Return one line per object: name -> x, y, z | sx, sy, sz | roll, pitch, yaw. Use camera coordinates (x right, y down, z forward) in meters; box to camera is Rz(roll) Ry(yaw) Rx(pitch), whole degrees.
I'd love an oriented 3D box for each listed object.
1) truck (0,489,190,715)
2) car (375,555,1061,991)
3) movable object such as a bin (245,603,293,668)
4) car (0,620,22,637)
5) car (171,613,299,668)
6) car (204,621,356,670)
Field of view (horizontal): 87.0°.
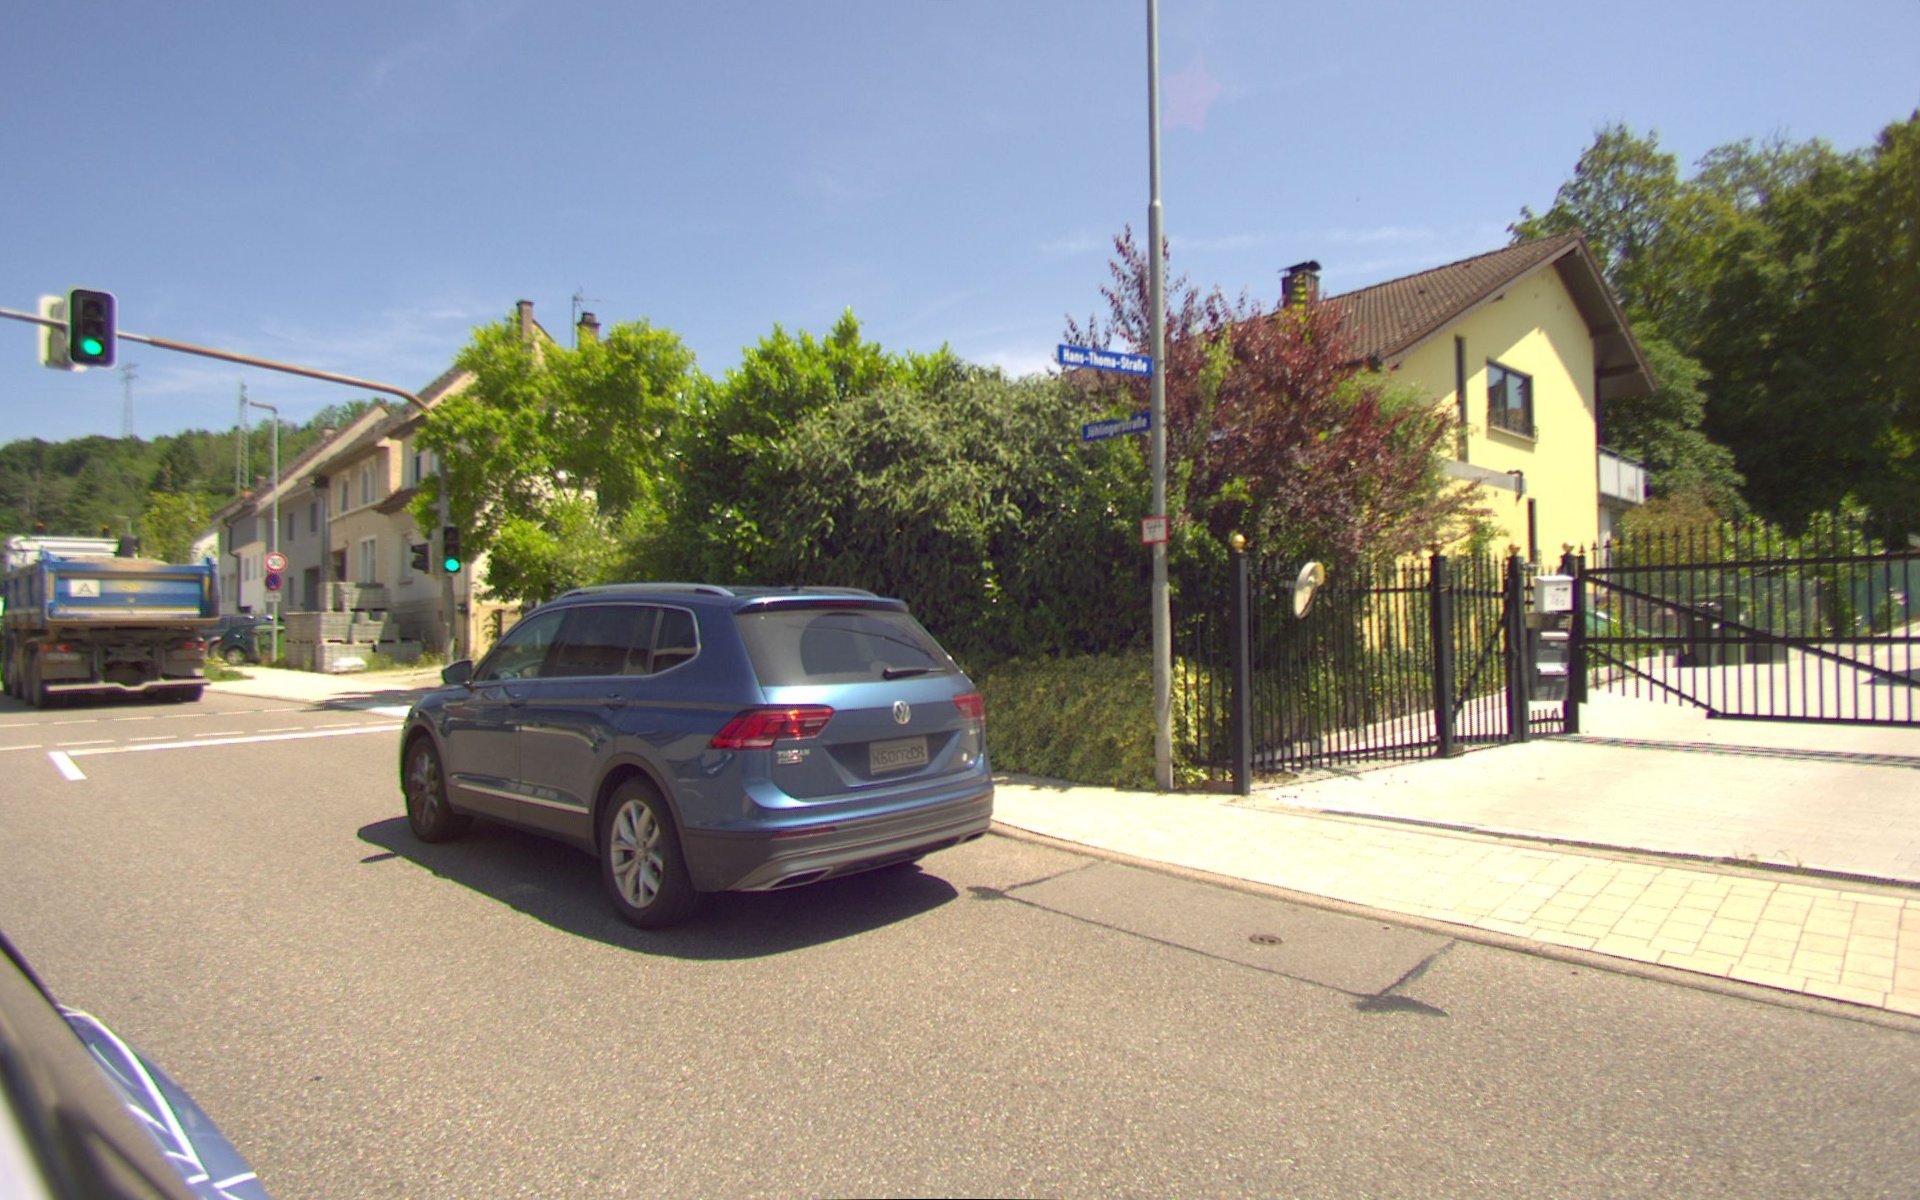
truck -> -18.013, 0.163, 20.894 | 2.511, 3.767, 8.630 | 2, -3, -43
car -> -1.778, 0.703, 6.154 | 4.614, 1.658, 1.867 | -1, -2, 44
movable object such as a bin -> -22.429, 1.124, 32.845 | 1.047, 2.029, 1.324 | -1, 0, -44
car -> -120.527, 3.559, 128.157 | 2.337, 2.016, 5.180 | -1, 0, -41
car -> -26.526, 1.435, 37.085 | 1.849, 1.804, 3.556 | -1, 0, 44
car -> -23.117, 1.527, 34.525 | 3.989, 1.511, 1.706 | -1, 0, -6
